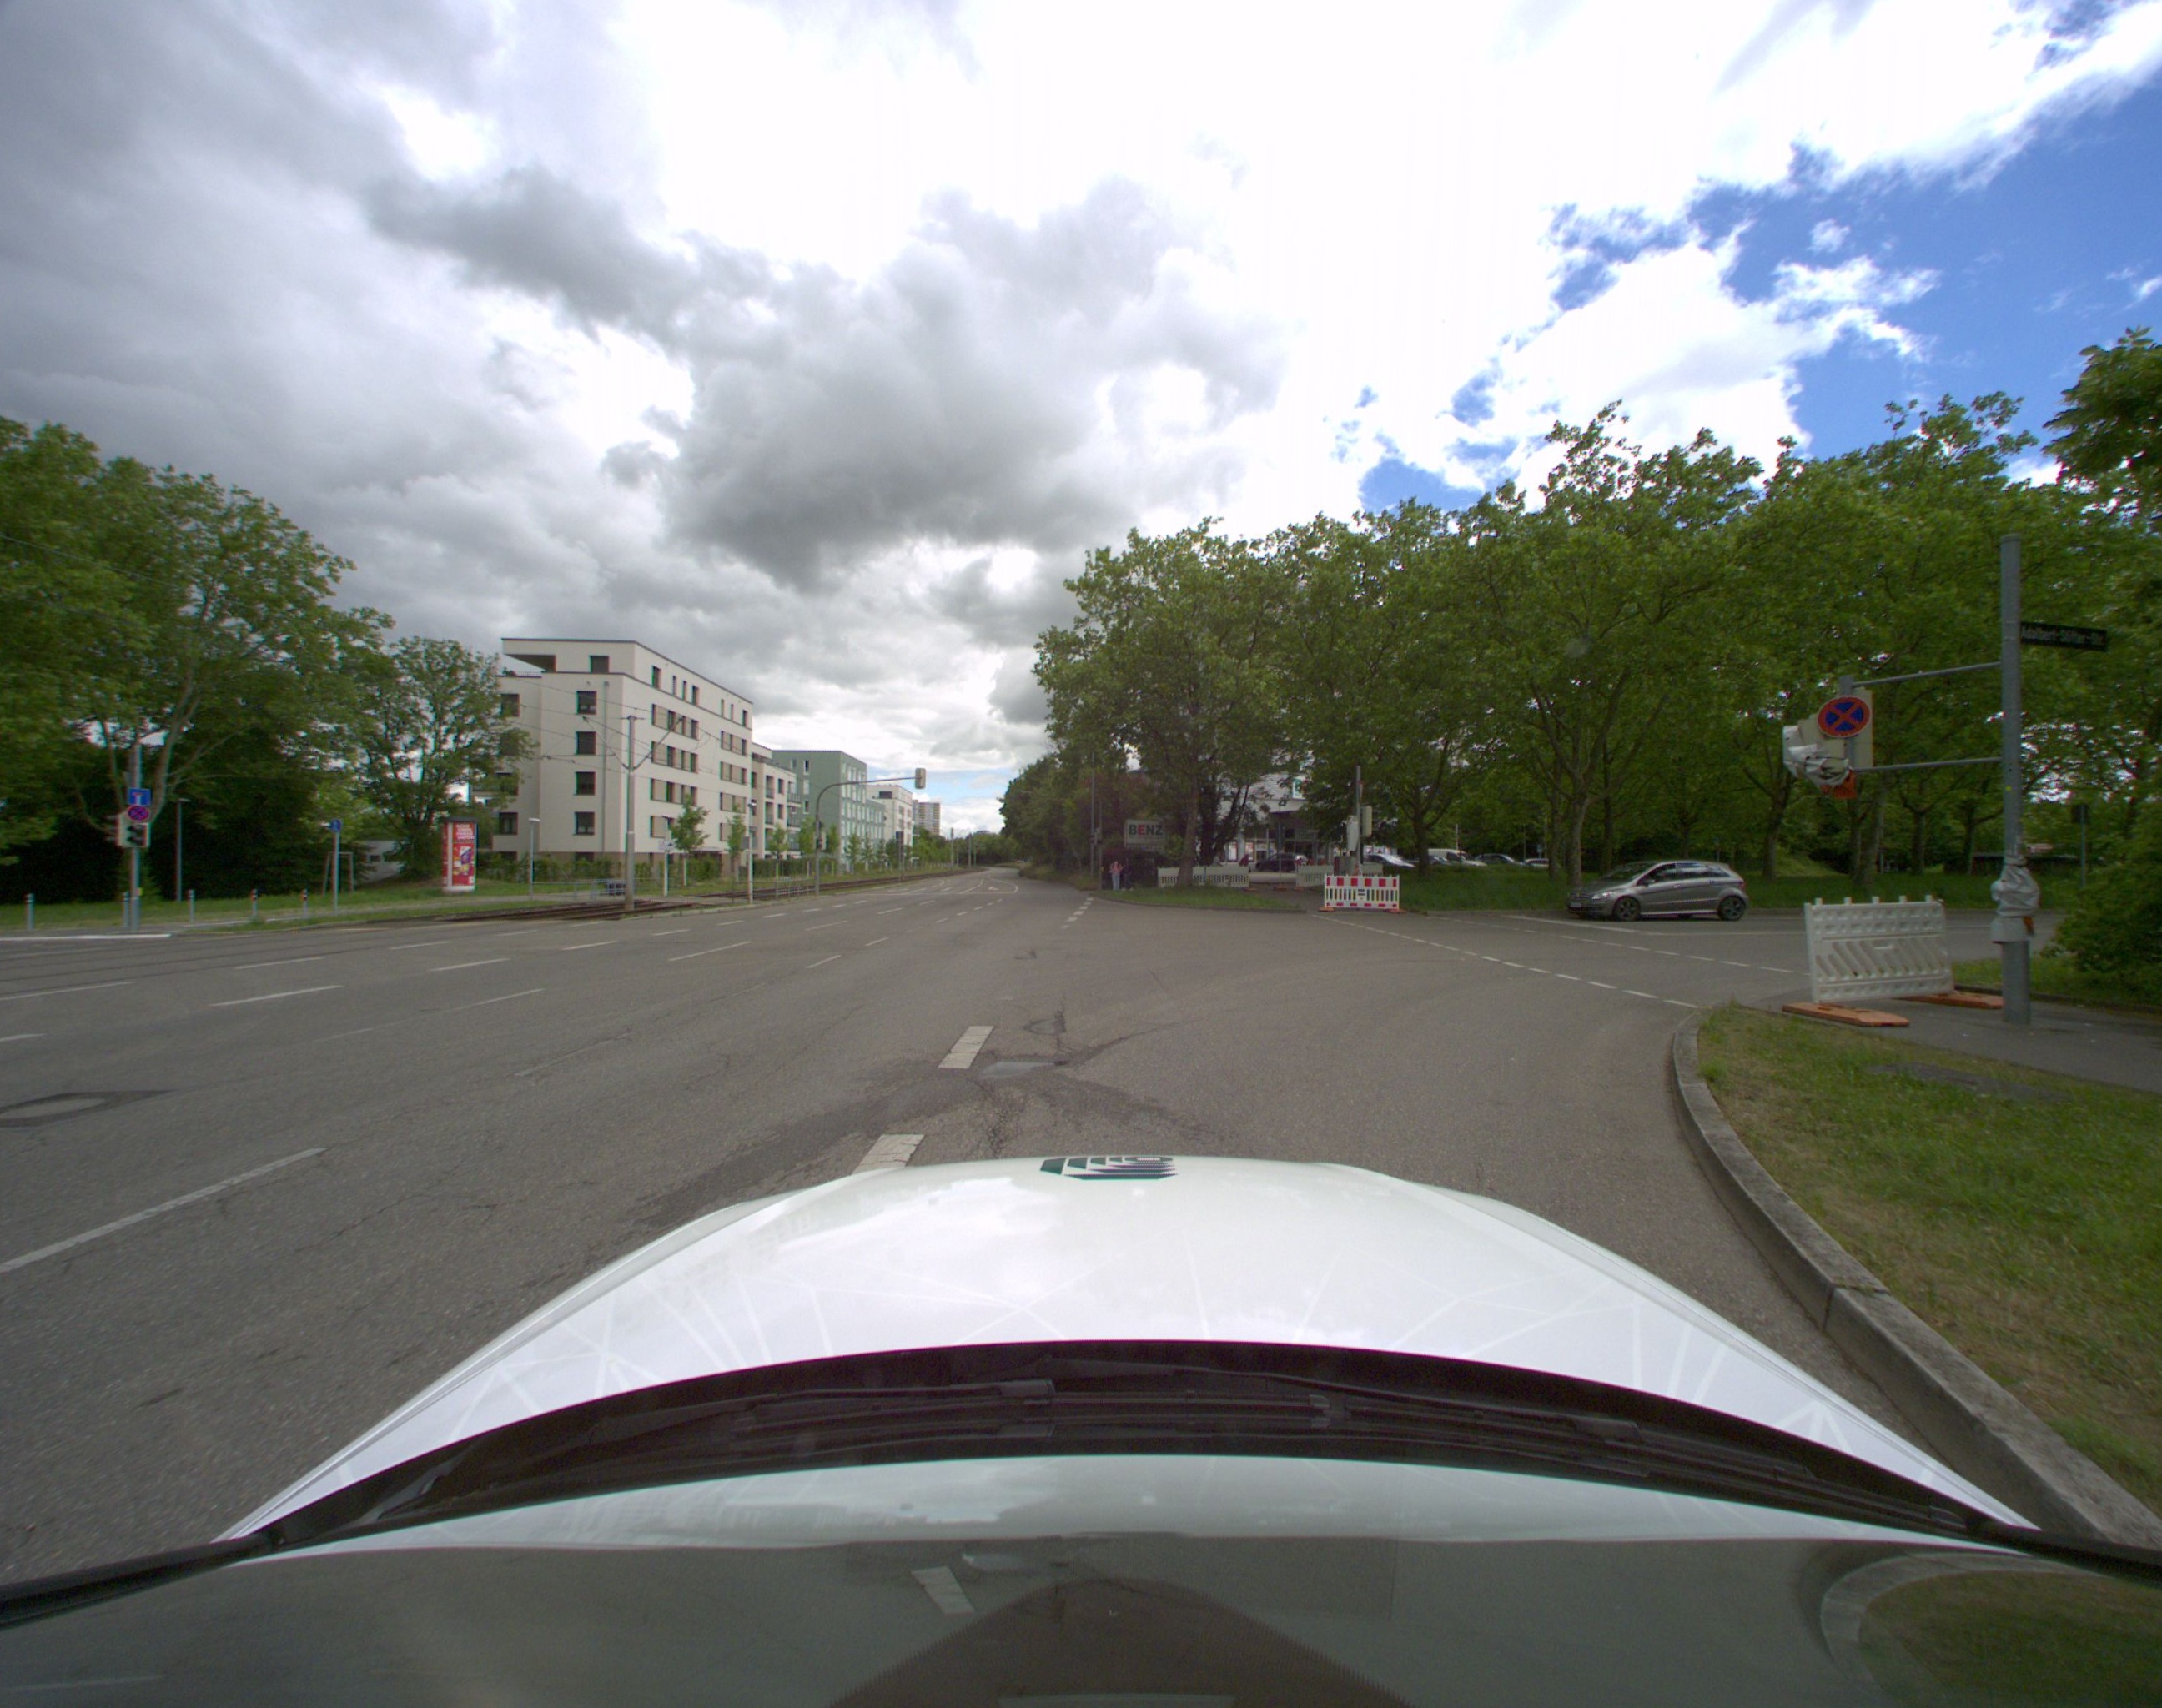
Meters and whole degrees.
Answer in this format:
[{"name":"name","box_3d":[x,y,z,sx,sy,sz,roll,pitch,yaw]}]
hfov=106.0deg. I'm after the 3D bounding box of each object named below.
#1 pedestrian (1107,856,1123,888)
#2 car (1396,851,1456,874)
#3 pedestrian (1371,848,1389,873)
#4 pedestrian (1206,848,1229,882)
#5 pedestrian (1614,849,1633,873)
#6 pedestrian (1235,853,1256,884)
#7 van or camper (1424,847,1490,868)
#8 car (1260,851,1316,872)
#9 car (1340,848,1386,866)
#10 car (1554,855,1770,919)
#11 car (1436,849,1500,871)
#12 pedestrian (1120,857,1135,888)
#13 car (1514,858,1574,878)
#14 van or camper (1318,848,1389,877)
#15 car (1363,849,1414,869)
[{"name":"pedestrian","box_3d":[1.612,0.859,38.498,0.695,1.489,0.687,0,-2,-1]},{"name":"car","box_3d":[22.351,0.581,52.813,1.489,1.404,3.376,1,-2,-29]},{"name":"pedestrian","box_3d":[19.287,0.424,52.610,0.793,1.586,0.797,0,-2,-9]},{"name":"pedestrian","box_3d":[6.604,0.542,39.398,0.786,1.586,0.856,-1,-2,34]},{"name":"pedestrian","box_3d":[45.315,0.560,67.967,1.089,1.950,0.975,2,-1,-36]},{"name":"pedestrian","box_3d":[8.217,0.708,40.645,0.658,1.539,0.764,1,-2,-37]},{"name":"van or camper","box_3d":[25.143,0.265,54.556,1.523,1.356,3.736,1,-2,-33]},{"name":"car","box_3d":[15.285,0.561,60.319,1.737,1.500,4.231,0,-2,-26]},{"name":"car","box_3d":[22.890,0.267,66.119,1.489,1.404,3.375,1,-2,-31]},{"name":"car","box_3d":[15.135,0.845,21.381,4.382,1.586,1.772,0,-1,0]},{"name":"car","box_3d":[26.922,0.430,56.795,1.489,1.465,3.854,1,-2,-31]},{"name":"pedestrian","box_3d":[2.250,0.875,39.285,0.695,1.489,0.720,0,-2,0]},{"name":"car","box_3d":[35.807,1.106,63.041,1.737,1.500,3.712,0,-2,-26]},{"name":"van or camper","box_3d":[16.607,0.516,49.817,1.850,1.684,3.964,-1,0,-27]},{"name":"car","box_3d":[25.545,0.426,67.803,1.678,1.634,3.785,1,0,-30]}]
